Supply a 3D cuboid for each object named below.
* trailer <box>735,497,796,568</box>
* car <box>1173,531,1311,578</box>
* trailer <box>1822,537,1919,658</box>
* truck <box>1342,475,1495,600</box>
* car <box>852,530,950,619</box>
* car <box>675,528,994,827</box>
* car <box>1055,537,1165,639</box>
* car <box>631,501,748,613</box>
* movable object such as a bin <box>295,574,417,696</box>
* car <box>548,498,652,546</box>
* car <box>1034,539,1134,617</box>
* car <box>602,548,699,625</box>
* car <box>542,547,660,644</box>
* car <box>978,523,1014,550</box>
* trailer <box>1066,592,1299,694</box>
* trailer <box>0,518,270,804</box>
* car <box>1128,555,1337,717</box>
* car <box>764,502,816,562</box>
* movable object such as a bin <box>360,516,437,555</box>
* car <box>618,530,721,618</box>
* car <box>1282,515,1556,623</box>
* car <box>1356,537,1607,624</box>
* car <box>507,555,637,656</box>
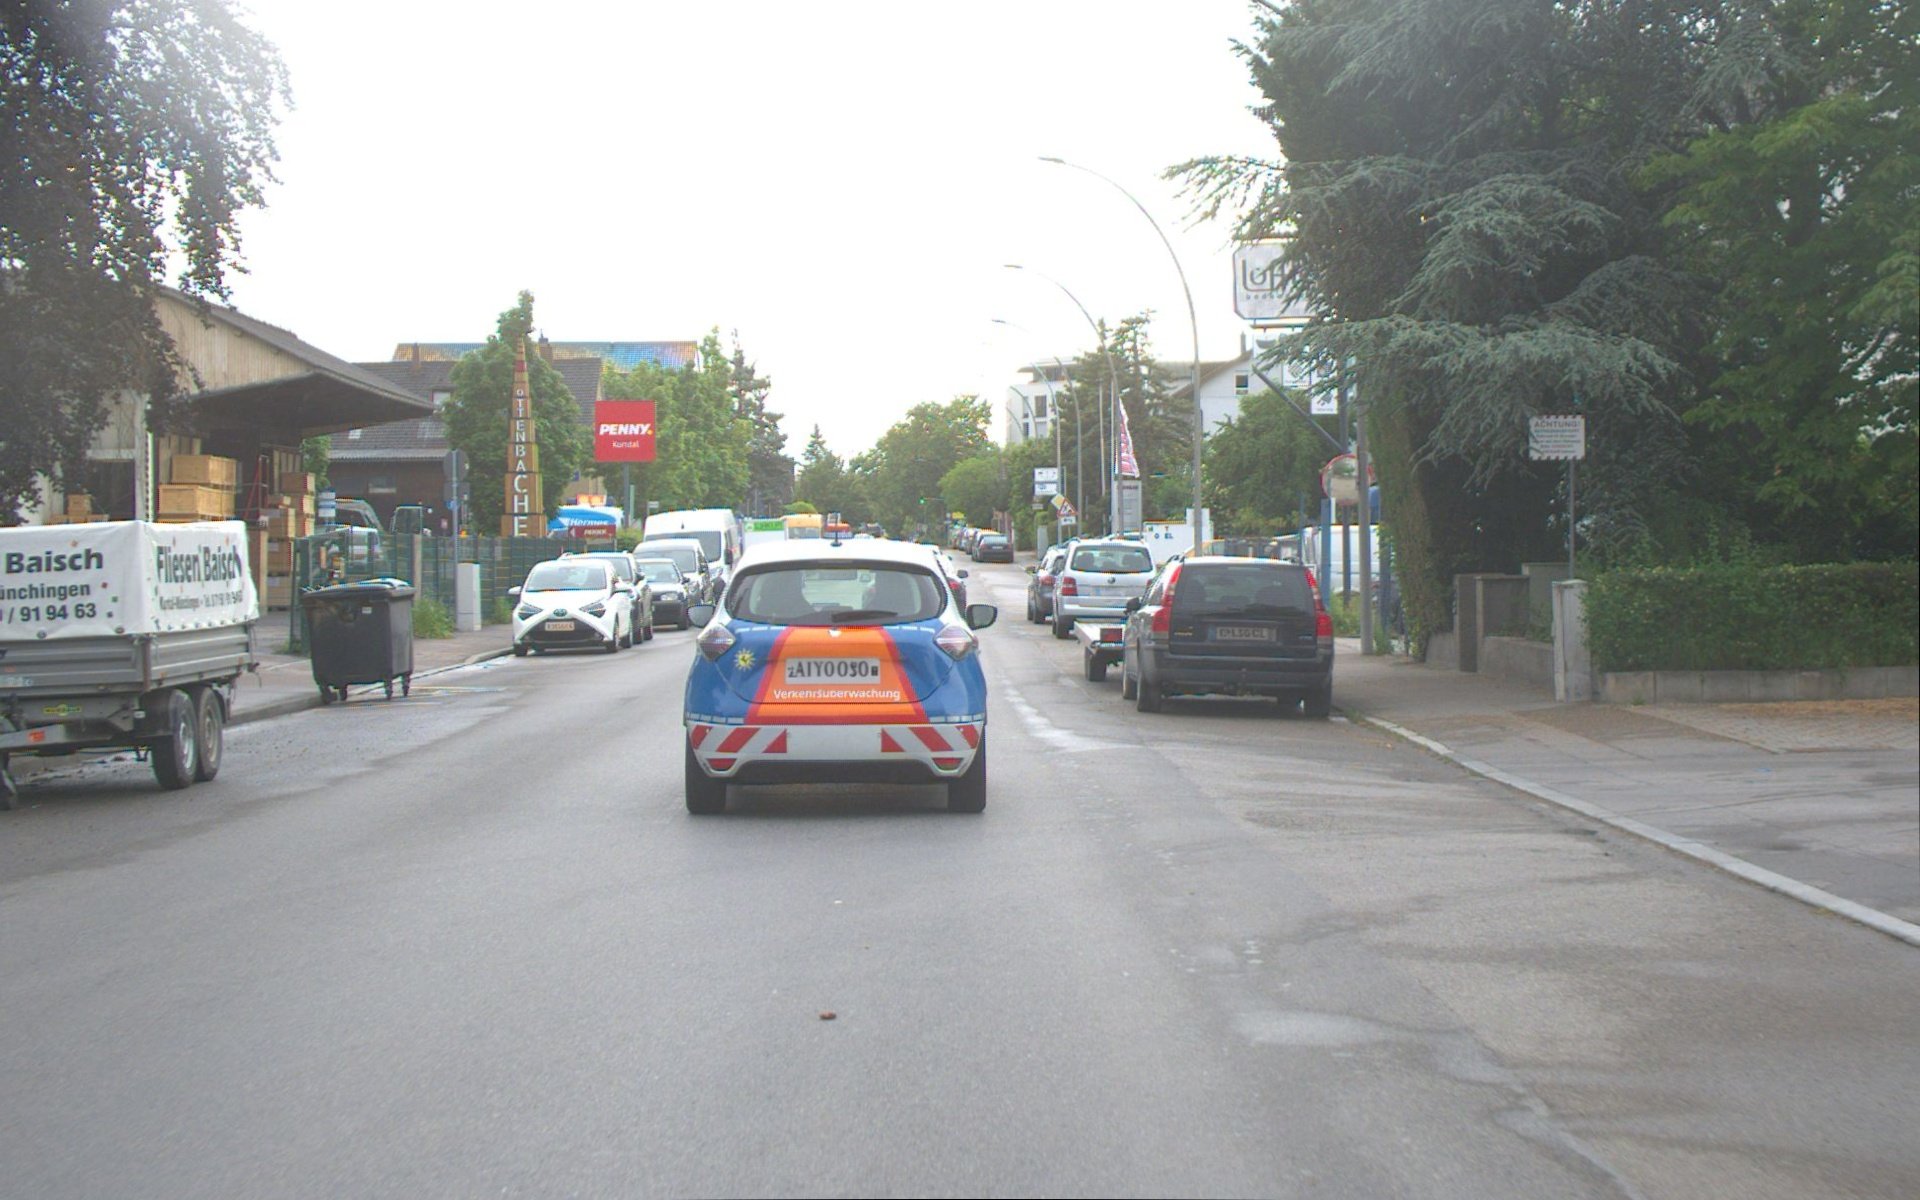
[{"bbox_3d":[-6.685,-2.326,118.374,1.812,2.306,4.731,-3,1,-1],"label":"trailer"},{"bbox_3d":[8.517,-1.385,103.997,3.986,1.425,1.631,0,1,-2],"label":"car"},{"bbox_3d":[12.822,-0.068,44.730,1.768,1.514,4.806,-1,1,-3],"label":"trailer"},{"bbox_3d":[14.362,-1.963,107.880,4.143,3.661,2.720,3,1,-3],"label":"truck"},{"bbox_3d":[-1.082,-0.470,61.692,1.650,1.516,4.000,1,1,-2],"label":"car"},{"bbox_3d":[-0.727,0.397,20.531,1.731,1.625,3.495,0,1,-1],"label":"car"},{"bbox_3d":[2.471,-0.228,57.535,1.739,1.616,4.373,1,1,1],"label":"car"},{"bbox_3d":[-6.329,-1.034,81.091,2.158,2.418,6.460,-3,1,0],"label":"car"},{"bbox_3d":[-6.690,0.371,38.152,1.100,1.306,1.425,1,1,-1],"label":"movable object such as a bin"},{"bbox_3d":[-15.640,-3.392,149.500,4.306,2.007,2.063,1,1,0],"label":"car"},{"bbox_3d":[2.409,-0.443,67.553,1.738,1.461,4.546,1,1,-1],"label":"car"},{"bbox_3d":[-6.176,-0.285,68.993,1.661,1.443,4.318,-2,1,-2],"label":"car"},{"bbox_3d":[-6.218,-0.103,59.870,1.661,1.579,3.917,-2,1,-1],"label":"car"},{"bbox_3d":[1.777,-3.143,170.536,1.589,1.336,4.093,0,1,-2],"label":"car"},{"bbox_3d":[2.450,0.448,39.553,2.173,0.894,6.637,1,1,-1],"label":"trailer"},{"bbox_3d":[-6.121,0.331,23.430,1.929,1.759,4.548,0,1,0],"label":"trailer"},{"bbox_3d":[2.556,0.288,33.168,1.740,1.428,4.648,1,1,1],"label":"car"},{"bbox_3d":[-7.313,-2.945,148.611,2.124,2.529,6.023,-1,1,-2],"label":"car"},{"bbox_3d":[-25.905,-2.986,158.628,3.421,1.753,2.000,1,1,-7],"label":"movable object such as a bin"},{"bbox_3d":[-6.321,-0.589,75.304,1.769,1.762,4.446,-4,1,0],"label":"car"},{"bbox_3d":[8.393,-0.570,63.110,4.731,1.880,2.000,1,1,0],"label":"car"},{"bbox_3d":[9.158,-0.354,60.606,4.103,1.452,2.000,1,1,0],"label":"car"},{"bbox_3d":[-6.150,0.062,54.779,1.616,1.504,3.660,-2,1,0],"label":"car"}]
